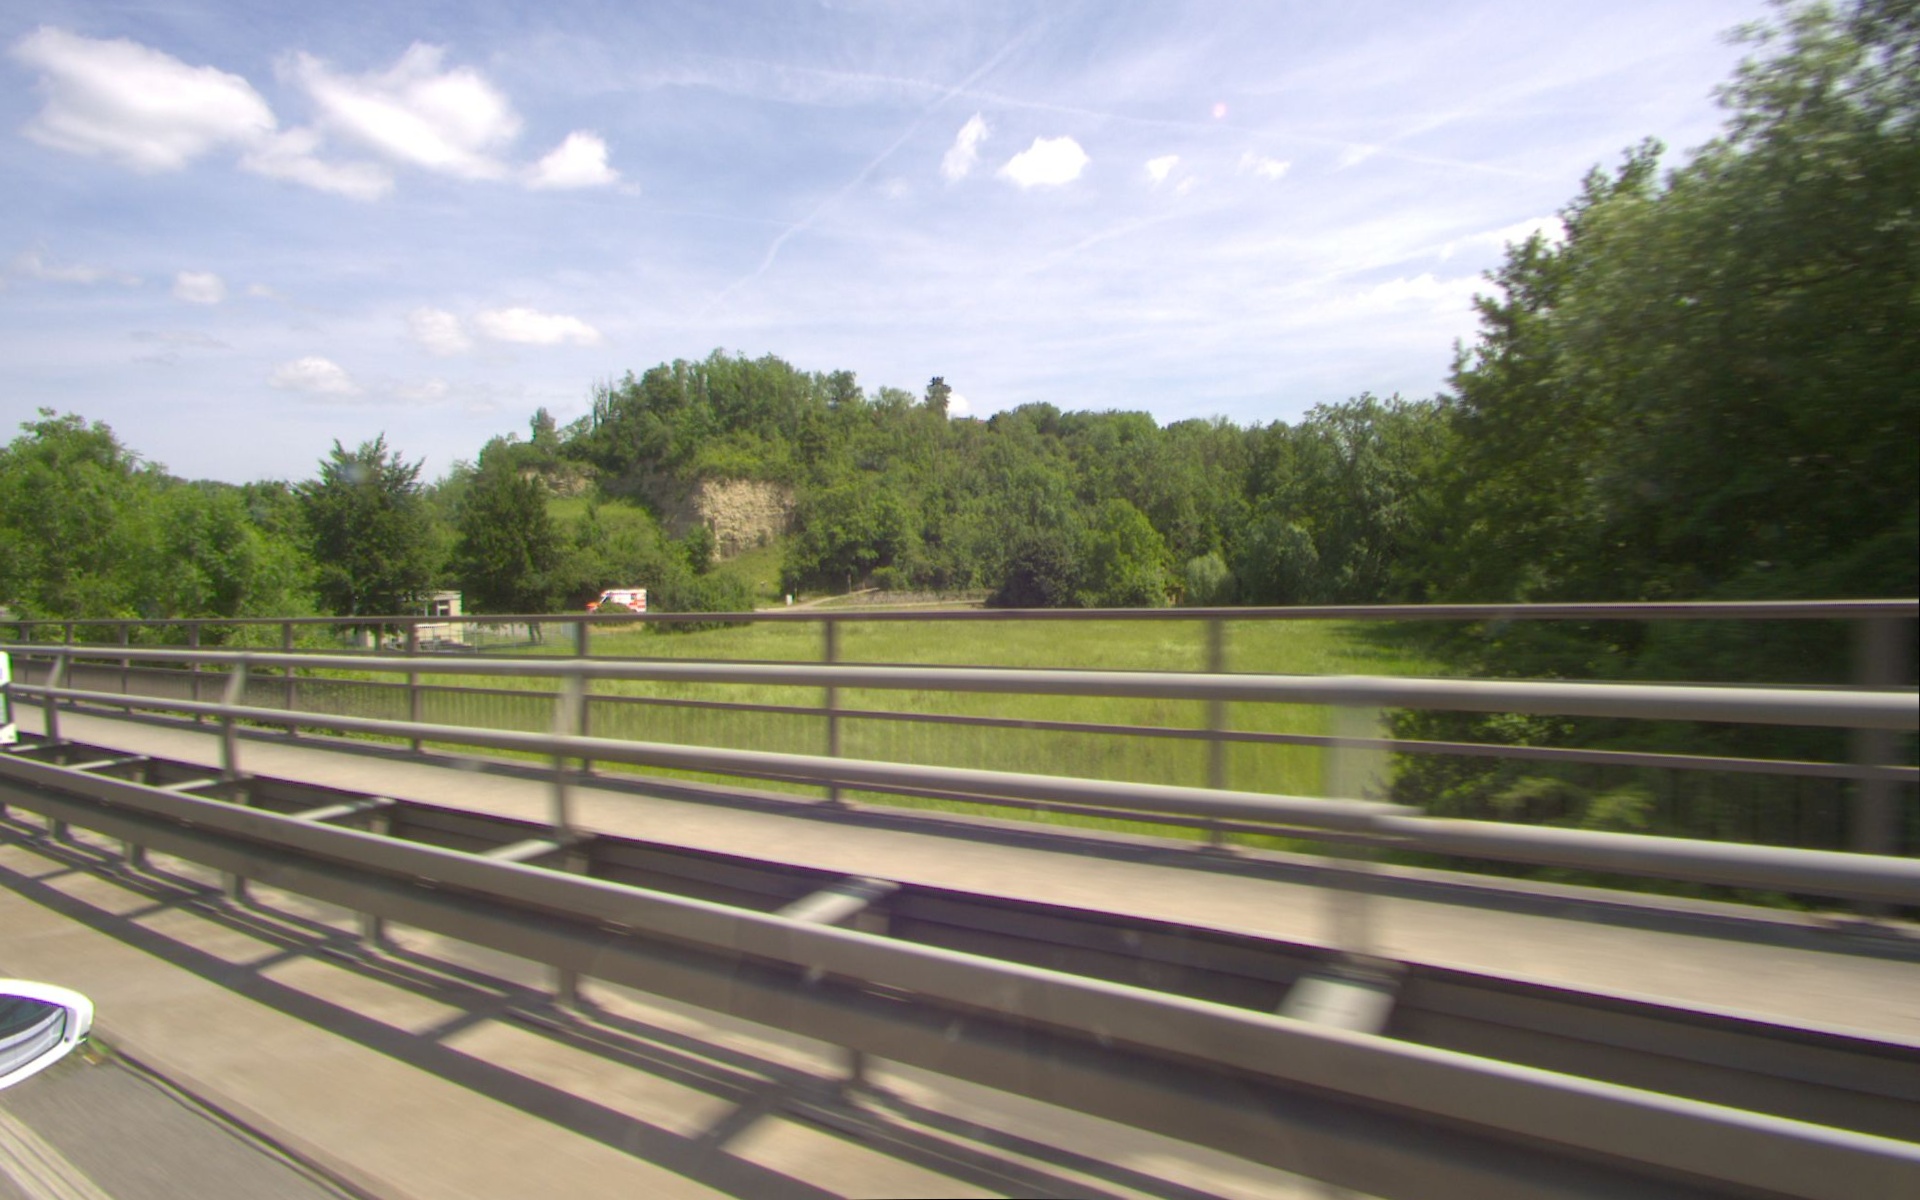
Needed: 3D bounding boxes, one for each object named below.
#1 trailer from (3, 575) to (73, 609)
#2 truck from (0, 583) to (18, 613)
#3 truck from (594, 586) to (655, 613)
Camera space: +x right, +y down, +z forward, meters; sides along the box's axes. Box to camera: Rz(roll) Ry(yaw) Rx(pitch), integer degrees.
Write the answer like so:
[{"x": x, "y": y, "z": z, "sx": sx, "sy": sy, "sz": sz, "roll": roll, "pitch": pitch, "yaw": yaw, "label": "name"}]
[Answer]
[{"x": -106.183, "y": -0.878, "z": 115.520, "sx": 3.210, "sy": 3.734, "sz": 9.216, "roll": 0, "pitch": 0, "yaw": -24, "label": "trailer"}, {"x": -97.271, "y": -0.236, "z": 99.934, "sx": 2.821, "sy": 2.987, "sz": 7.074, "roll": 0, "pitch": 0, "yaw": -26, "label": "truck"}, {"x": -36.552, "y": -0.047, "z": 109.108, "sx": 5.946, "sy": 2.762, "sz": 2.489, "roll": 1, "pitch": -2, "yaw": -31, "label": "truck"}]
